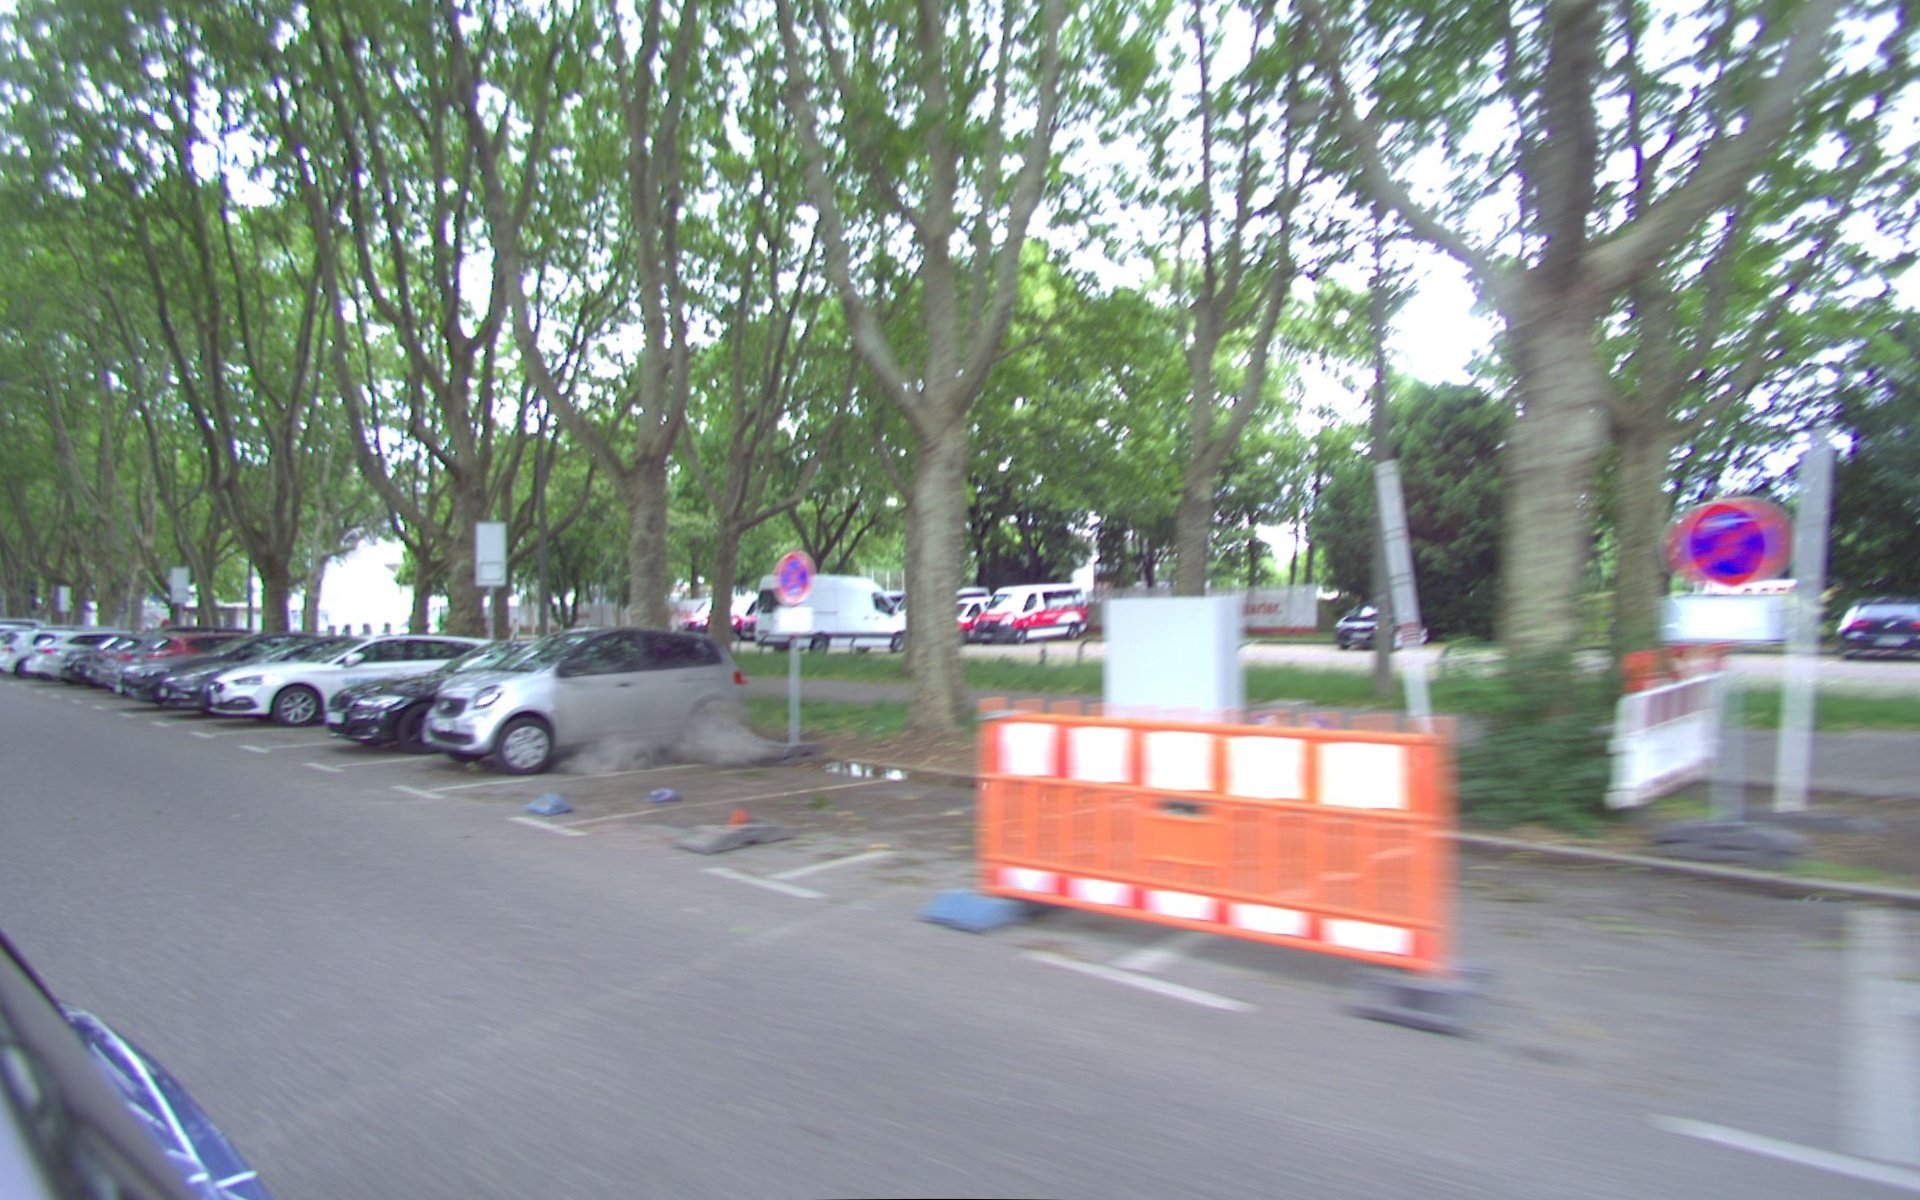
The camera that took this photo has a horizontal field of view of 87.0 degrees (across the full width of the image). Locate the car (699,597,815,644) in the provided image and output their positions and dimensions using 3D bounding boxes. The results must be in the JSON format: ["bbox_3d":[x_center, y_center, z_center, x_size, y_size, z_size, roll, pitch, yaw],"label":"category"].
[{"bbox_3d":[-10.442,1.015,52.587,1.998,2.269,5.941,-2,-1,40],"label":"car"}]

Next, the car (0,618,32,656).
[{"bbox_3d":[-53.128,1.984,54.153,1.916,2.035,4.847,-1,-3,37],"label":"car"}]

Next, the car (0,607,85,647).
[{"bbox_3d":[-39.907,1.153,43.018,1.950,1.640,3.790,-2,-3,38],"label":"car"}]

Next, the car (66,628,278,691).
[{"bbox_3d":[-19.278,1.429,24.894,1.800,1.441,3.789,-2,-3,39],"label":"car"}]

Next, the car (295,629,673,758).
[{"bbox_3d":[-6.170,1.142,13.596,1.692,1.441,4.292,-2,-3,37],"label":"car"}]

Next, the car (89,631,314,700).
[{"bbox_3d":[-17.247,1.459,23.162,1.692,1.441,3.790,-2,-3,37],"label":"car"}]

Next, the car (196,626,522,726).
[{"bbox_3d":[-9.859,1.194,16.903,1.694,1.441,4.354,-2,-3,41],"label":"car"}]

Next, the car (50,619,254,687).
[{"bbox_3d":[-20.996,1.363,26.420,1.856,1.621,3.791,-2,-3,37],"label":"car"}]

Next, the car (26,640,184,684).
[{"bbox_3d":[-25.205,1.797,29.898,1.582,1.212,3.285,-2,-3,37],"label":"car"}]

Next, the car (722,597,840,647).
[{"bbox_3d":[-8.923,1.057,51.073,1.998,2.335,5.941,-2,-1,40],"label":"car"}]

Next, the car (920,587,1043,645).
[{"bbox_3d":[1.029,0.628,43.556,1.998,2.322,5.941,-2,-1,40],"label":"car"}]

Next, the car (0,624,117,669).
[{"bbox_3d":[-34.302,1.720,37.814,1.692,1.620,4.005,-1,-3,37],"label":"car"}]

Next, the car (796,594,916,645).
[{"bbox_3d":[-4.856,0.878,48.164,1.998,2.257,5.941,-2,-1,40],"label":"car"}]

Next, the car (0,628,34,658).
[{"bbox_3d":[-49.415,2.147,50.665,1.775,1.463,4.398,-2,-3,44],"label":"car"}]

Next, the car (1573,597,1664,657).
[{"bbox_3d":[18.136,0.702,27.804,1.677,1.497,3.764,-2,0,39],"label":"car"}]

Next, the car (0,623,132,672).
[{"bbox_3d":[-31.282,1.643,34.989,1.692,1.620,3.790,-2,-3,37],"label":"car"}]

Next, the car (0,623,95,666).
[{"bbox_3d":[-36.161,1.720,39.166,1.831,1.620,3.790,-2,-3,37],"label":"car"}]

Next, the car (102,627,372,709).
[{"bbox_3d":[-14.038,1.275,19.855,1.692,1.441,3.983,-2,-3,37],"label":"car"}]

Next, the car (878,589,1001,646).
[{"bbox_3d":[-0.802,0.730,44.951,1.998,2.347,5.941,-2,-1,40],"label":"car"}]

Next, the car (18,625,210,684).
[{"bbox_3d":[-23.278,1.478,27.958,1.692,1.509,3.790,-2,-3,37],"label":"car"}]

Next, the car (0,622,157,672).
[{"bbox_3d":[-27.258,1.445,31.051,1.692,1.441,3.790,-2,-3,37],"label":"car"}]

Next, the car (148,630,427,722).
[{"bbox_3d":[-11.890,1.286,18.098,1.692,1.440,3.790,0,-2,38],"label":"car"}]

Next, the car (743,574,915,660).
[{"bbox_3d":[-4.203,0.504,33.475,1.999,2.617,5.726,-2,-1,41],"label":"car"}]

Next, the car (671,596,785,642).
[{"bbox_3d":[-12.351,0.971,54.242,1.998,2.269,5.941,-2,-1,40],"label":"car"}]

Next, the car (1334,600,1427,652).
[{"bbox_3d":[13.280,0.795,31.883,1.677,1.497,3.764,-2,0,39],"label":"car"}]

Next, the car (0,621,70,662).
[{"bbox_3d":[-38.636,1.661,40.739,1.799,1.620,4.023,-2,-3,43],"label":"car"}]

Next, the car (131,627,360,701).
[{"bbox_3d":[-15.350,1.342,21.869,1.695,1.441,3.783,-2,-3,44],"label":"car"}]

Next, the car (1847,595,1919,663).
[{"bbox_3d":[22.452,0.648,24.186,1.677,1.497,3.764,-2,0,39],"label":"car"}]

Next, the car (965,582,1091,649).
[{"bbox_3d":[2.874,0.564,41.361,1.998,2.546,5.941,-2,-1,40],"label":"car"}]

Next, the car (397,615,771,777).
[{"bbox_3d":[-4.212,1.019,11.850,1.692,1.566,3.790,-2,-3,37],"label":"car"}]
